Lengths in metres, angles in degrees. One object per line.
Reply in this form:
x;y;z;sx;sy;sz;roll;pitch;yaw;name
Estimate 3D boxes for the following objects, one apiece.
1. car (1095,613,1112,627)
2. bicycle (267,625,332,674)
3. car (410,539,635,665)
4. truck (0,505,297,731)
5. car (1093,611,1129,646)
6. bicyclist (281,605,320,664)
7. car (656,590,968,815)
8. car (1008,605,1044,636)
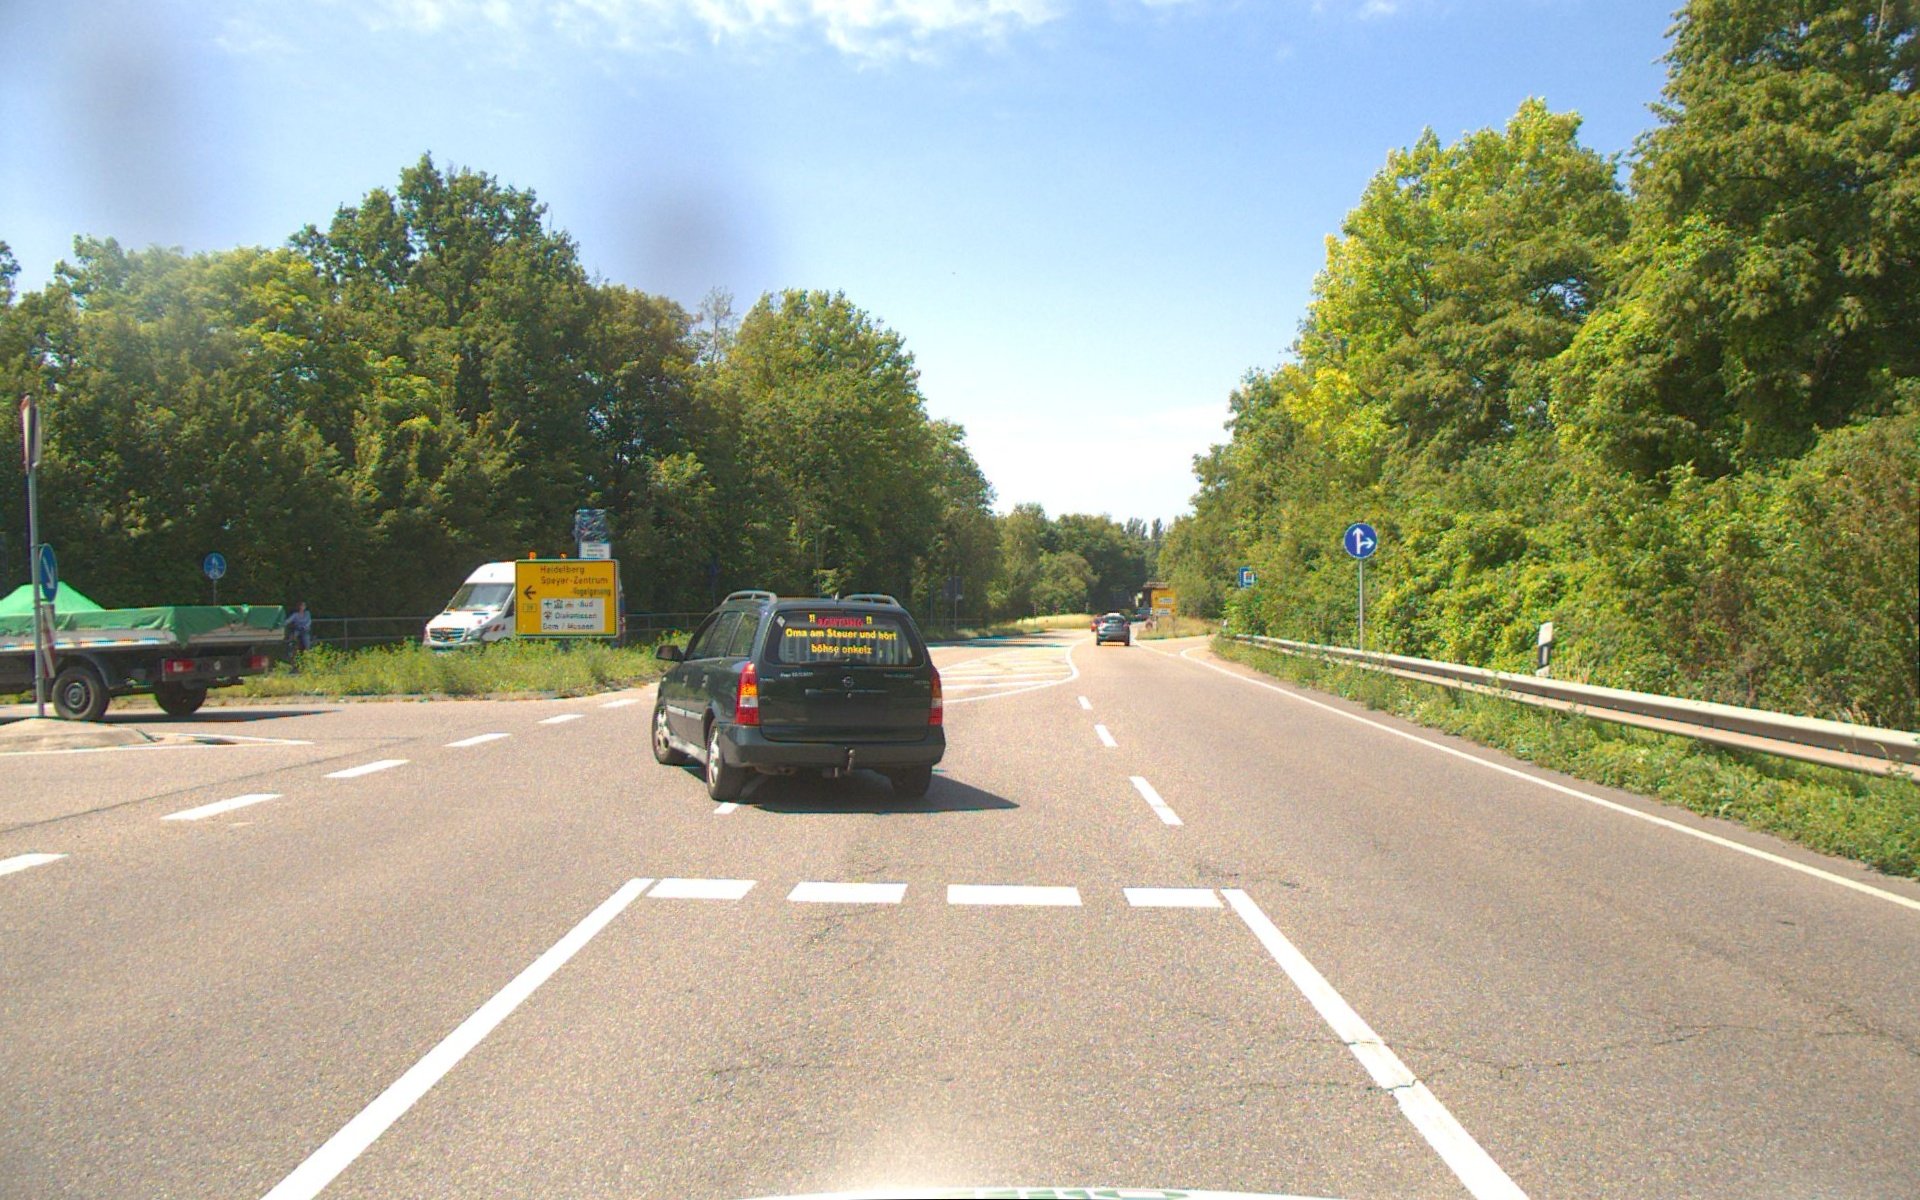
15.171;2.129;174.651;1.771;1.483;3.760;0;0;6;car
-15.914;1.177;39.854;0.427;1.133;1.478;-1;0;32;bicycle
-10.732;0.066;41.152;2.063;2.900;6.008;0;0;25;car
-12.110;0.316;21.309;6.476;2.610;2.148;-2;-1;13;truck
7.783;1.467;85.643;1.804;1.714;4.002;0;0;4;car
-15.900;0.822;39.876;0.675;1.387;0.607;0;0;34;bicyclist
-1.320;0.678;13.134;1.693;1.482;3.779;0;1;-18;car
7.282;2.248;183.627;1.970;3.282;4.766;0;0;-27;car
